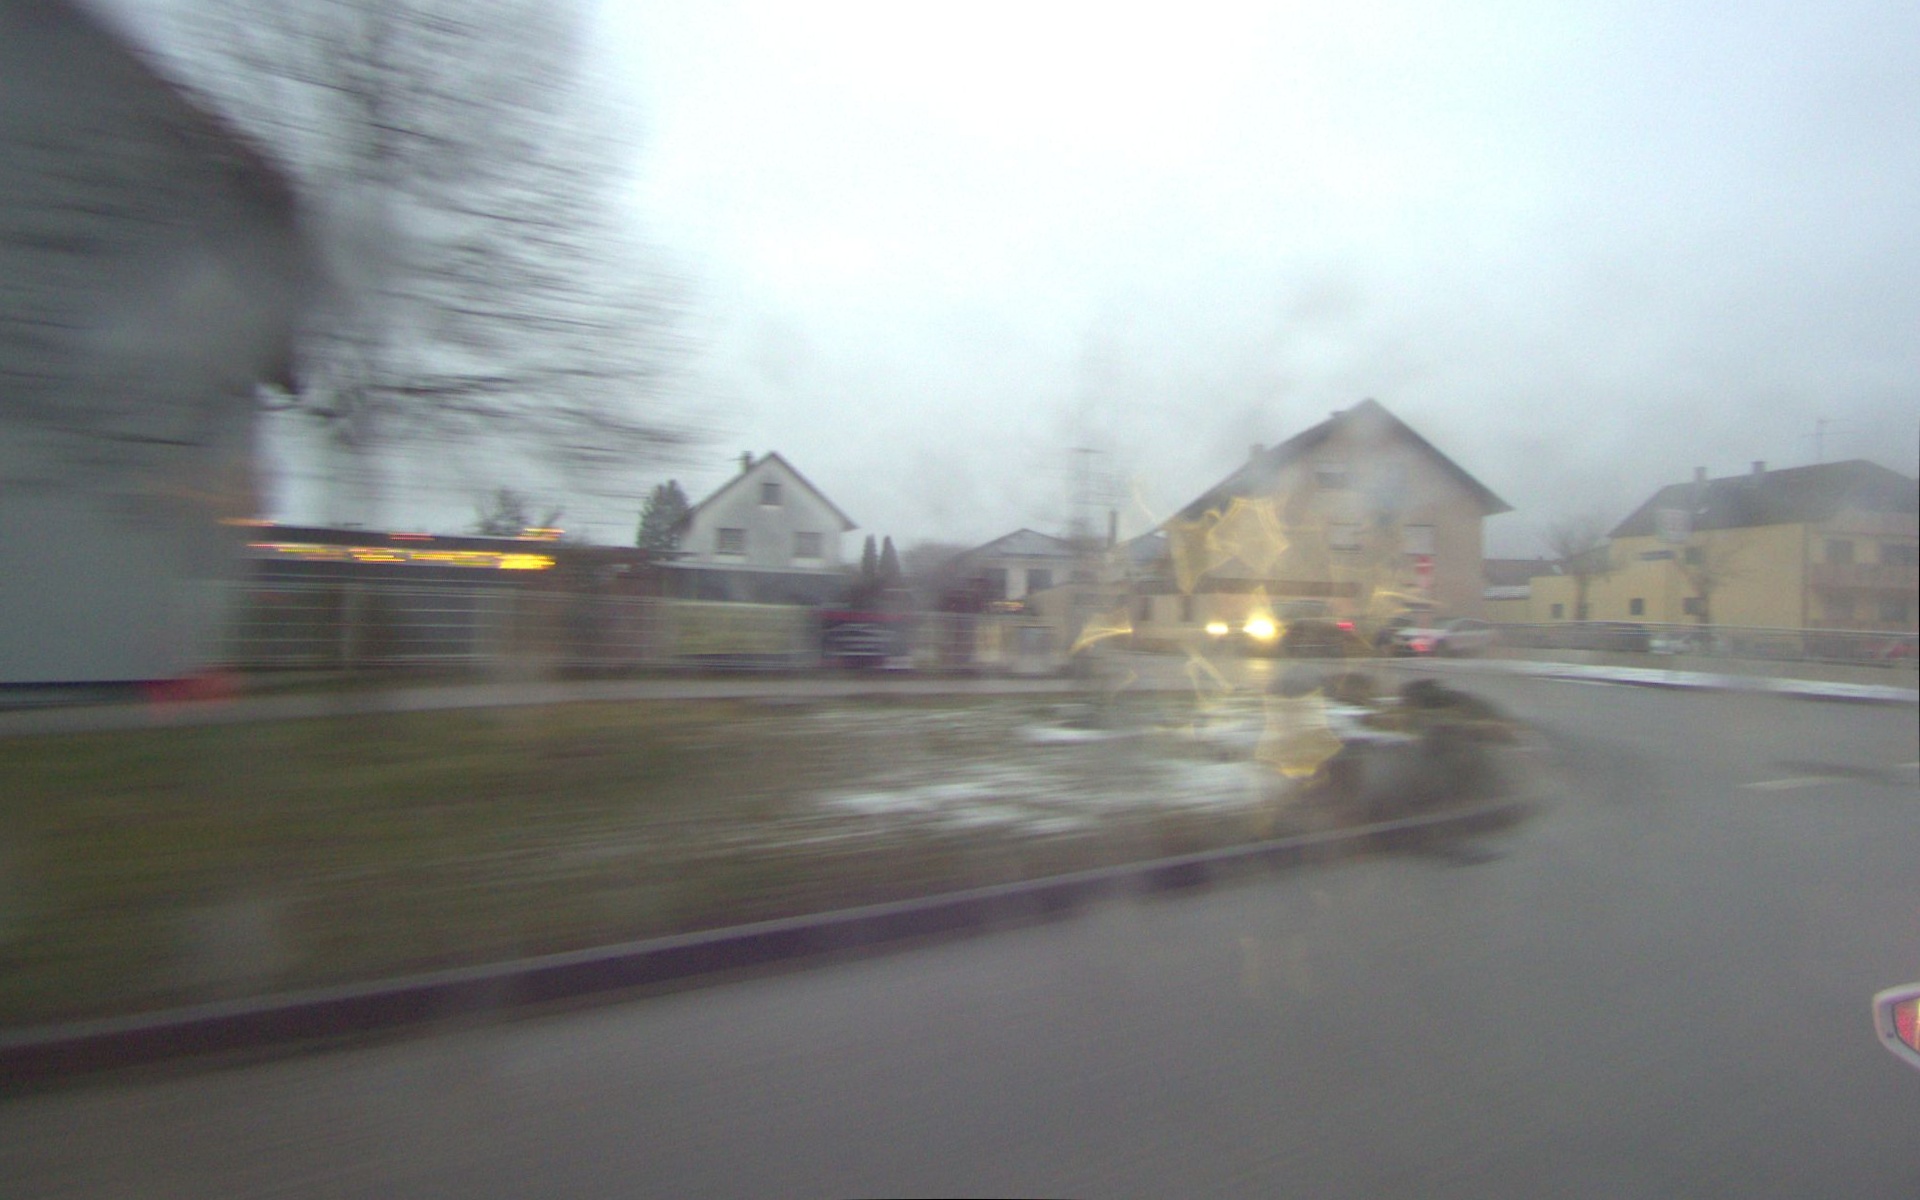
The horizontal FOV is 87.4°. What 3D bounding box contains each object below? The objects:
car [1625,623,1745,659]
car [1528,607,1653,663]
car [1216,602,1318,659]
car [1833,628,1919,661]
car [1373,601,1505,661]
[{"bbox_3d":[30.054,1.697,41.662,4.047,1.325,1.992,2,1,-17],"label":"car"},{"bbox_3d":[24.647,1.362,39.292,3.936,2.041,1.992,2,1,-17],"label":"car"},{"bbox_3d":[8.865,0.828,28.755,1.371,1.457,4.319,2,1,37],"label":"car"},{"bbox_3d":[41.891,2.000,45.268,4.047,1.325,1.992,2,1,-17],"label":"car"},{"bbox_3d":[17.538,1.132,36.799,4.159,2.041,1.991,1,1,-20],"label":"car"}]
